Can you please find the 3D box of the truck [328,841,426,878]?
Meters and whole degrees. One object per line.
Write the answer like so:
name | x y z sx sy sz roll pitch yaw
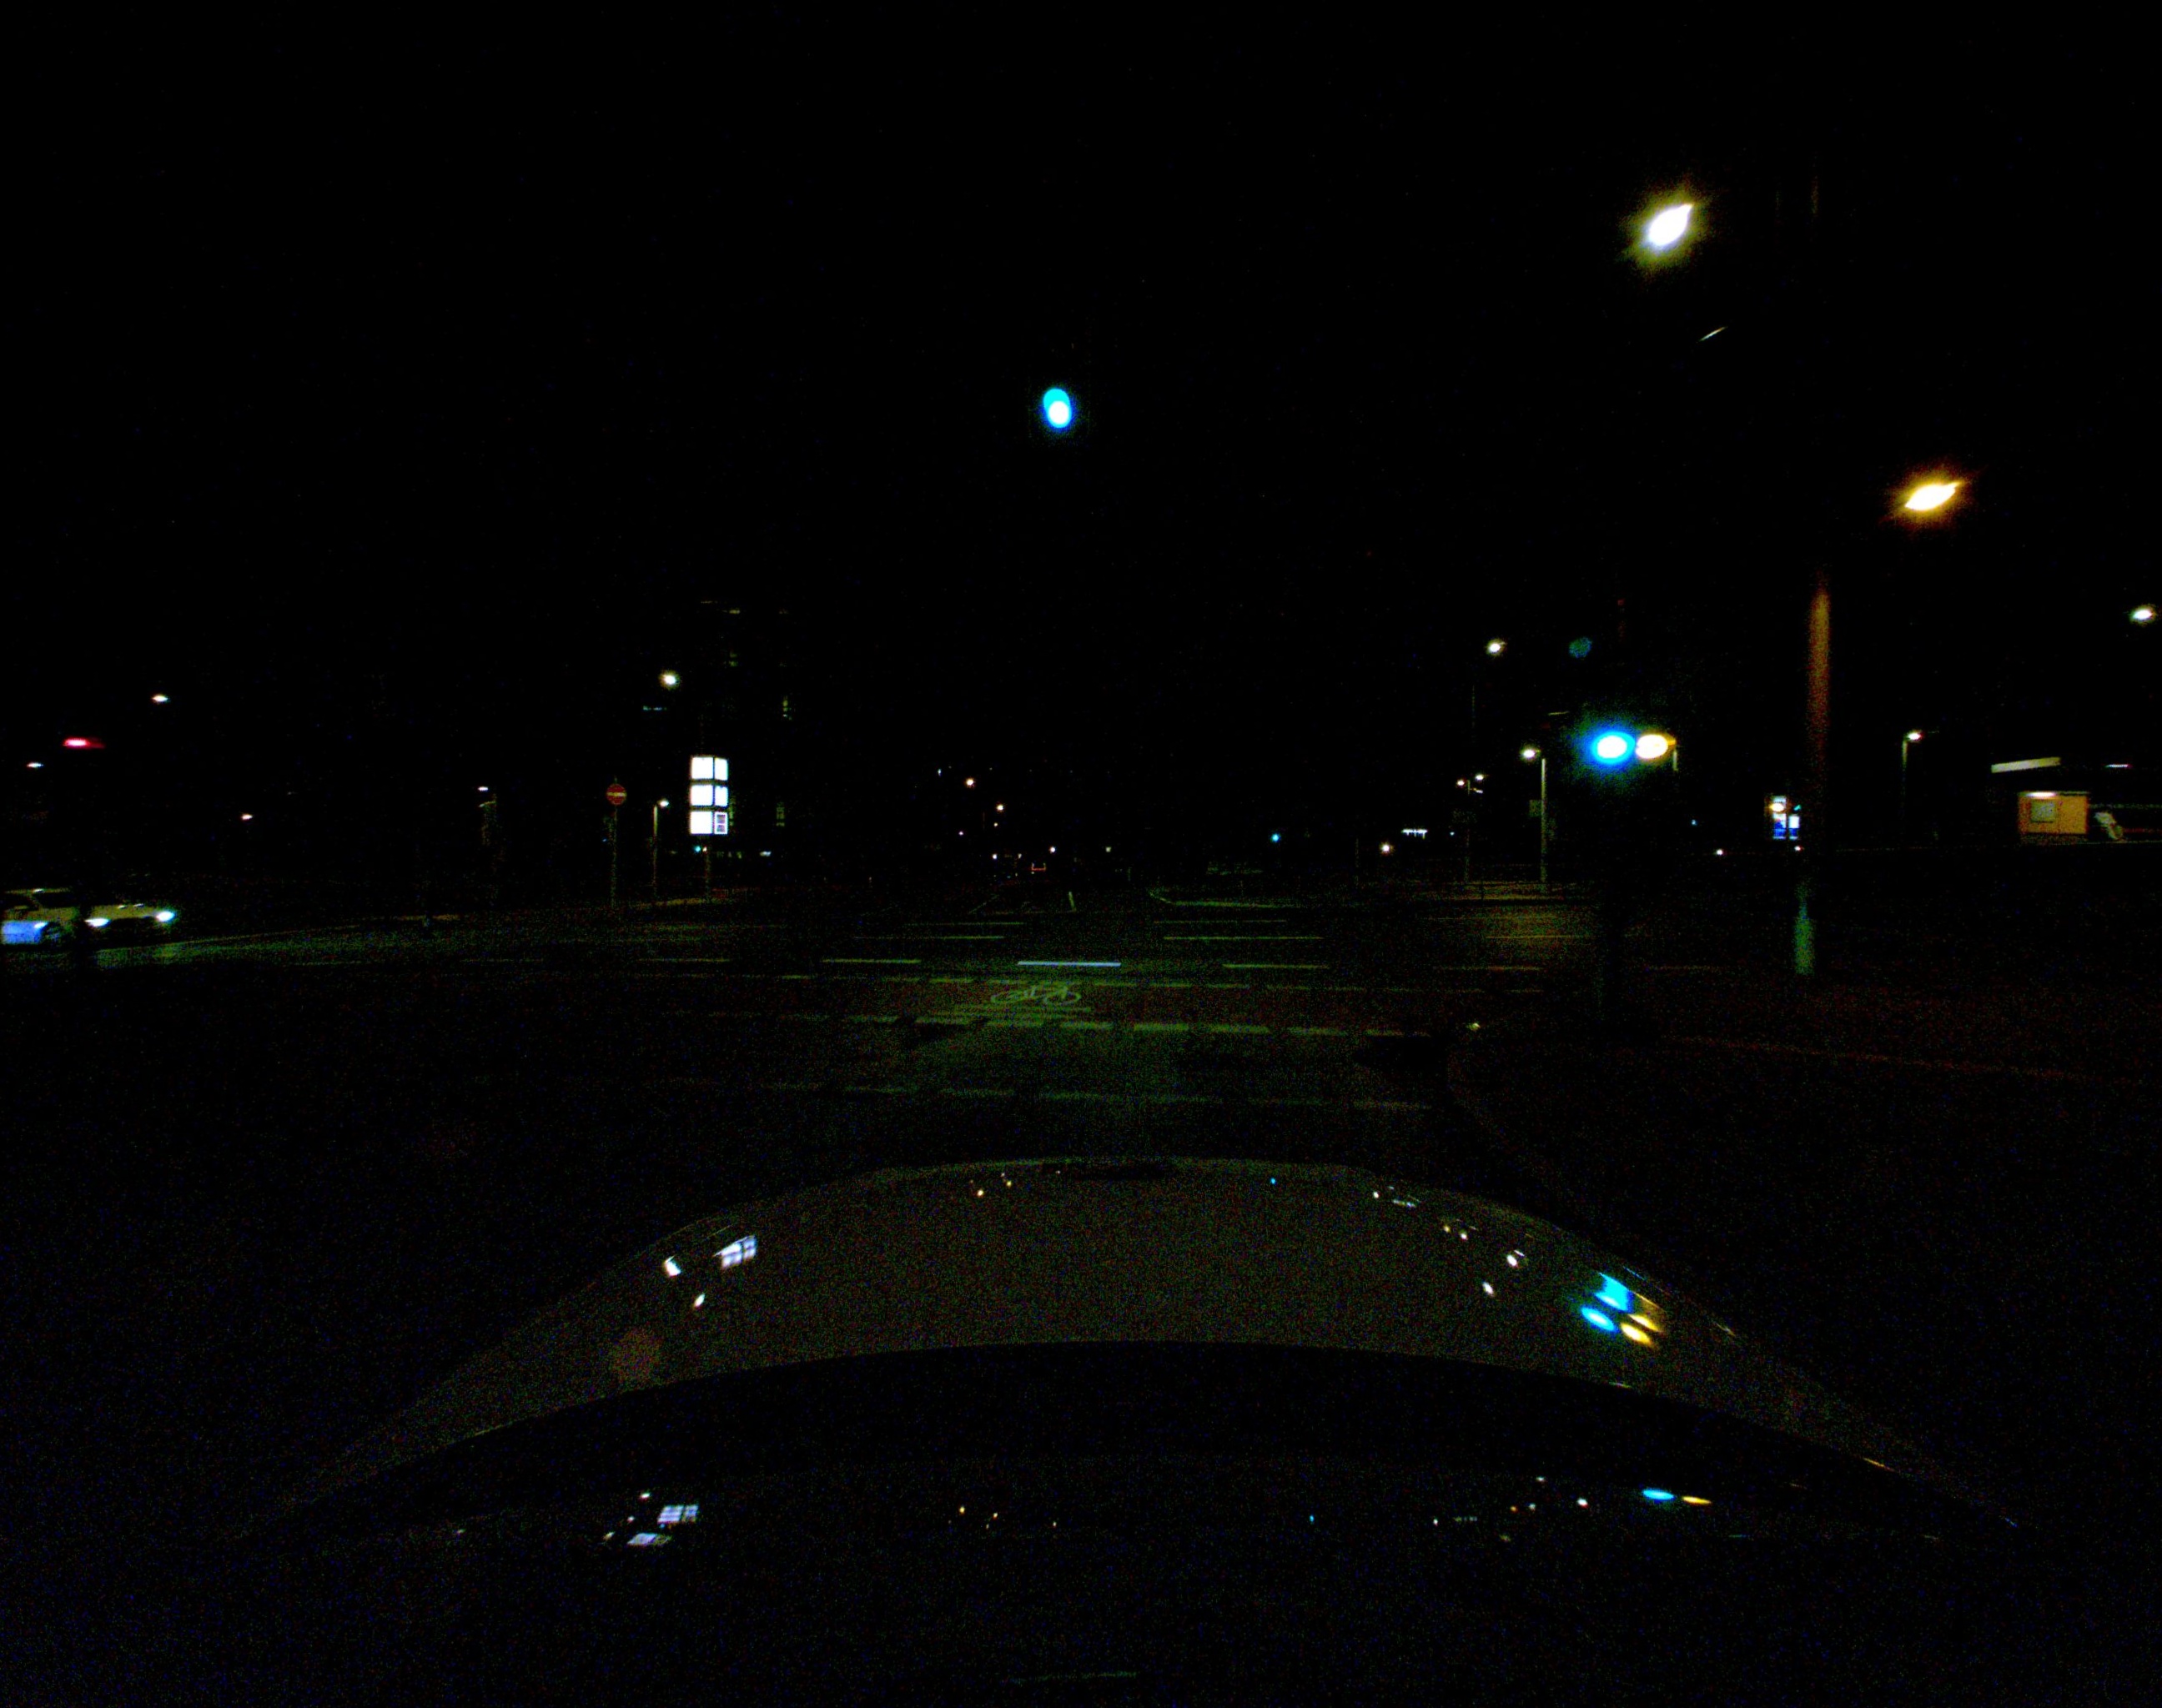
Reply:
truck | -59.986 0.468 69.505 5.873 3.088 2.915 0 -1 3

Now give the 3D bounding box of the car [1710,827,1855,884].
car | 28.572 0.083 33.296 3.967 2.014 2.003 -3 -1 6

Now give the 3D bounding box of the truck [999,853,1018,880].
truck | -10.474 1.780 117.940 2.580 3.707 5.723 0 -1 -7

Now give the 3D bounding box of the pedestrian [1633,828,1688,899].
pedestrian | 14.922 0.235 21.004 0.752 1.744 0.834 -3 1 1

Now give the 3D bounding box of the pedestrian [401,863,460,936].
pedestrian | -15.064 1.035 18.873 0.667 1.634 0.862 0 -1 -3

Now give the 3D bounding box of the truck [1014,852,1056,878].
truck | -8.611 2.051 150.068 4.835 4.547 12.591 0 0 -17

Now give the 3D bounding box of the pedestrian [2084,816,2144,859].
pedestrian | 37.952 -0.602 29.942 1.131 1.500 1.084 -2 -2 41

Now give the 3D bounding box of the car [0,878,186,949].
car | -24.410 1.411 19.541 4.164 1.502 1.822 -1 1 7
